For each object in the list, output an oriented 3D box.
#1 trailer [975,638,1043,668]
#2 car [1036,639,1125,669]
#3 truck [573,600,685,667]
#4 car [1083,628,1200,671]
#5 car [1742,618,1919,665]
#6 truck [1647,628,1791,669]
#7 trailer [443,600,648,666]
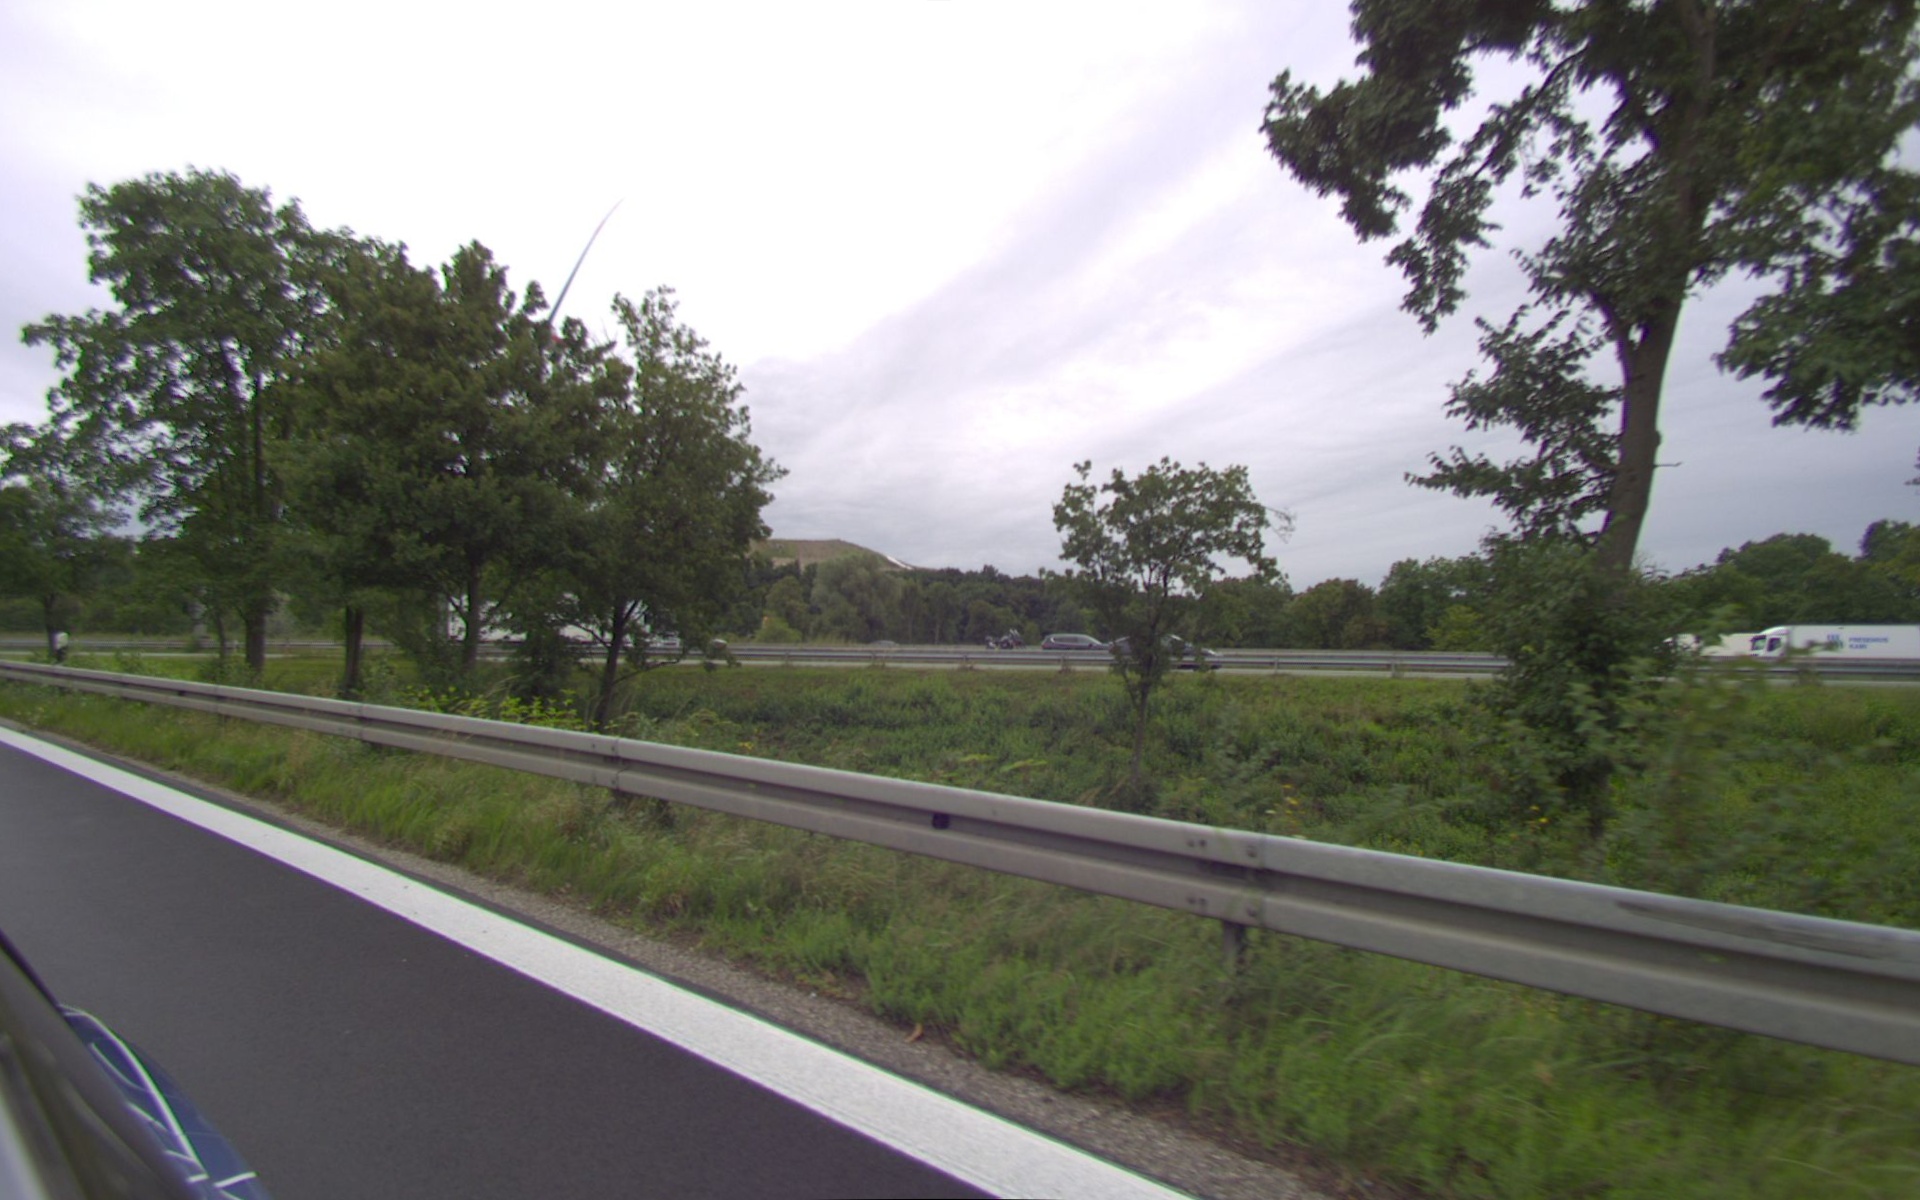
[{"bbox_3d":[2.847,3.040,58.297,3.579,1.638,1.878,0,-2,16],"label":"trailer"},{"bbox_3d":[6.826,3.021,57.118,4.764,1.638,1.878,0,-2,16],"label":"car"},{"bbox_3d":[-21.235,2.192,65.043,6.387,4.167,2.760,-1,-2,16],"label":"truck"},{"bbox_3d":[7.394,1.987,41.199,4.514,1.650,1.957,0,-2,17],"label":"car"},{"bbox_3d":[59.290,2.759,68.238,9.998,3.005,2.725,0,-2,18],"label":"car"},{"bbox_3d":[60.561,3.849,81.041,8.875,3.152,2.262,-1,-2,28],"label":"truck"},{"bbox_3d":[-27.433,2.220,66.851,13.826,4.167,2.760,-1,-2,16],"label":"trailer"}]
